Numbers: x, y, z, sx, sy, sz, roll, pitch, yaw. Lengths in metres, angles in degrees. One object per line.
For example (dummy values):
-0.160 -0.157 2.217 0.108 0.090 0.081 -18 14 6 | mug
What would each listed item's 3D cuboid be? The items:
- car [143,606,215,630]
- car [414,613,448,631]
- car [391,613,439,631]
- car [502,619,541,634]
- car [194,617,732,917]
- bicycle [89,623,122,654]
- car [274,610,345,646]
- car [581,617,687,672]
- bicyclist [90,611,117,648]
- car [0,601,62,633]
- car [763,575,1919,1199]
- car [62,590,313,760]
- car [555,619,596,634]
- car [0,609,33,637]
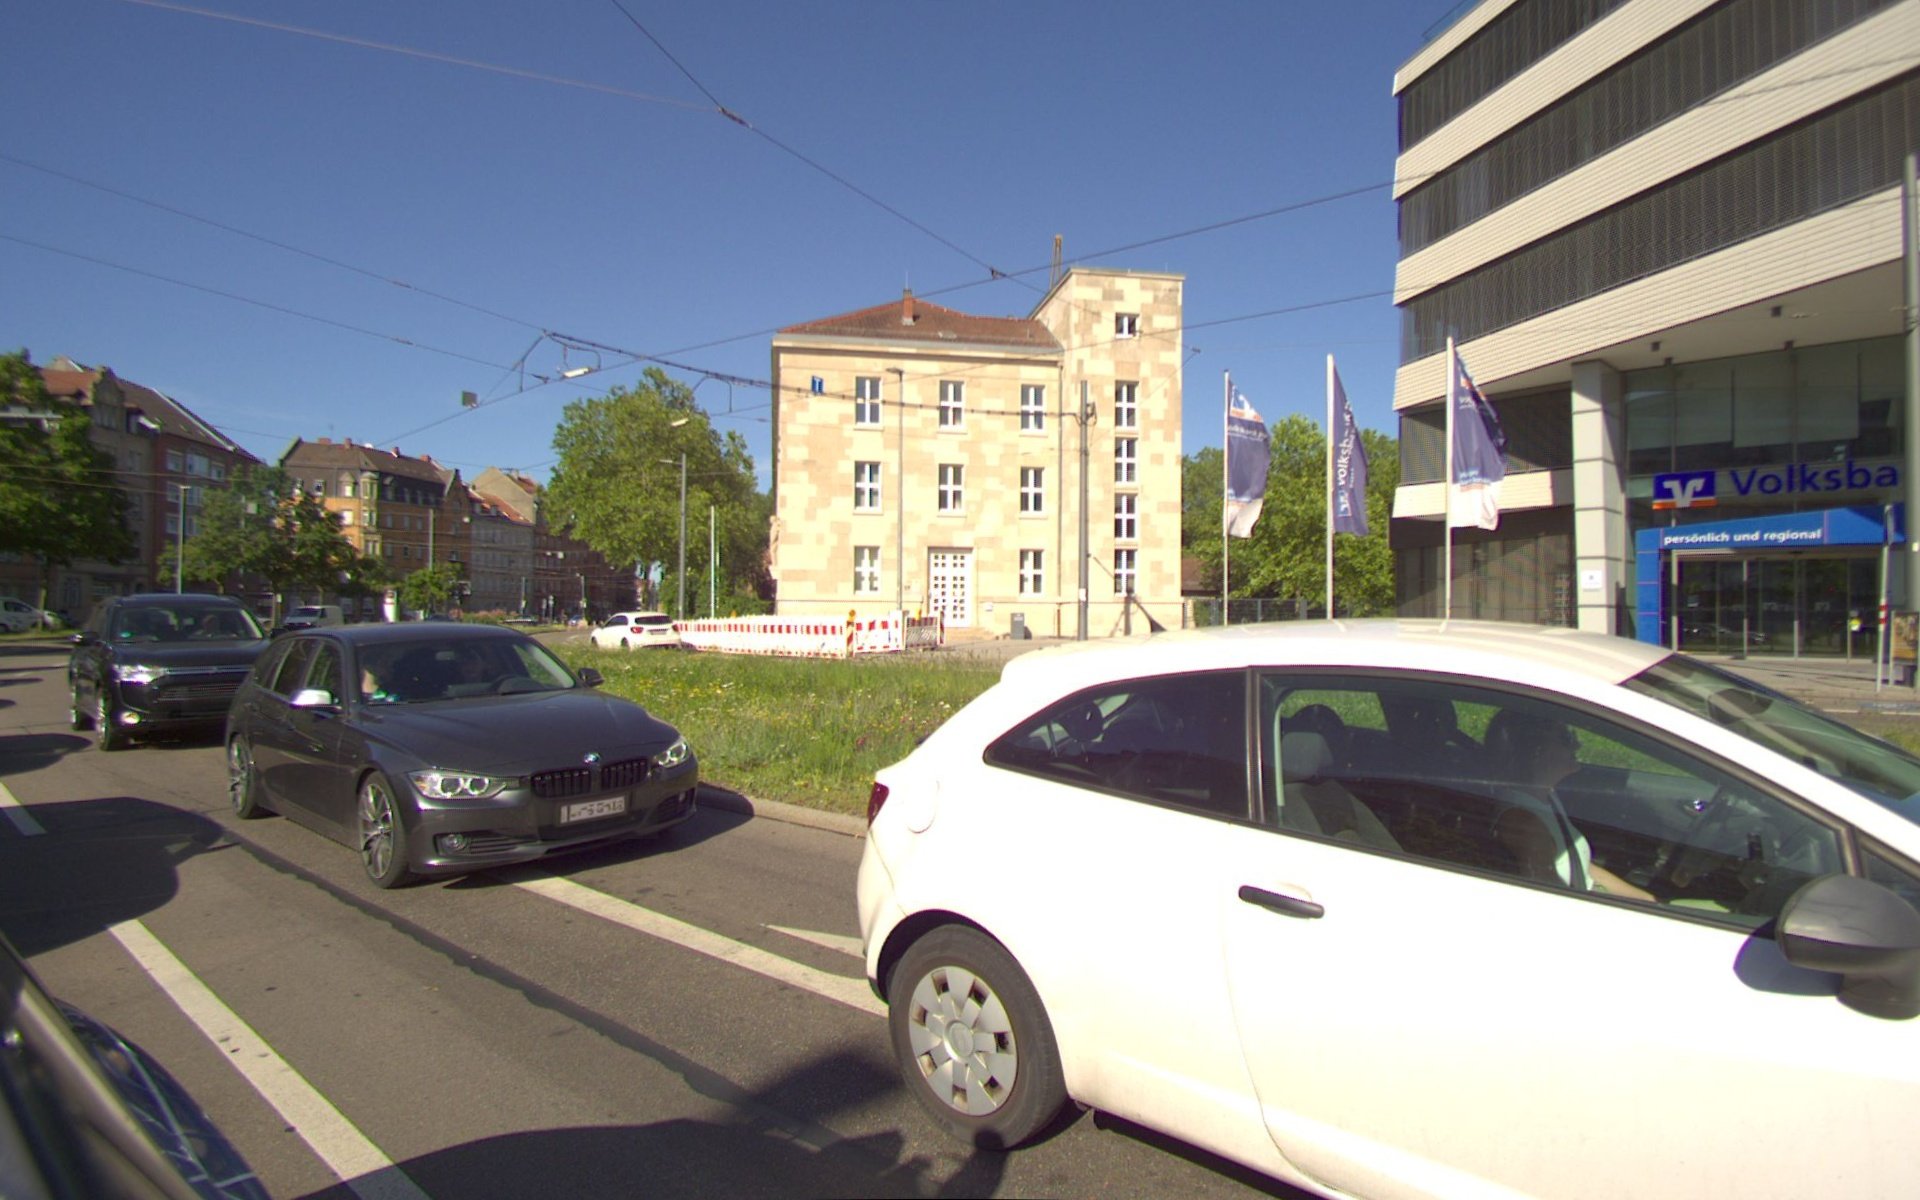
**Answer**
-53.922 1.262 69.880 3.771 1.603 1.601 2 -2 -44 | car
-45.134 1.900 86.475 1.809 1.483 4.728 1 -1 -19 | car
-61.821 2.454 114.809 4.513 1.889 2.006 -1 0 -16 | car
-51.744 3.169 119.429 4.001 1.669 1.772 1 -1 -16 | car
-3.593 0.826 6.883 4.424 1.377 1.719 -1 0 41 | car
-39.070 1.738 46.278 0.724 1.371 2.082 1 -1 -28 | bicycle
-39.843 1.686 62.132 1.952 2.101 4.722 1 -1 -9 | car
-10.694 1.415 33.047 1.797 1.658 4.188 1 -2 -41 | car
-39.039 1.340 46.149 0.723 1.707 0.974 1 -1 -28 | bicyclist
-49.922 0.881 52.798 4.514 1.680 1.601 2 -2 -43 | car
1.486 0.694 2.483 4.020 1.452 1.714 0 2 40 | car
-9.375 0.771 12.134 1.817 1.658 4.400 -1 -1 -45 | car
-43.754 2.992 115.156 4.012 1.669 1.767 1 -1 -1 | car
-48.757 1.142 50.391 3.768 1.390 1.602 2 -2 -41 | car
